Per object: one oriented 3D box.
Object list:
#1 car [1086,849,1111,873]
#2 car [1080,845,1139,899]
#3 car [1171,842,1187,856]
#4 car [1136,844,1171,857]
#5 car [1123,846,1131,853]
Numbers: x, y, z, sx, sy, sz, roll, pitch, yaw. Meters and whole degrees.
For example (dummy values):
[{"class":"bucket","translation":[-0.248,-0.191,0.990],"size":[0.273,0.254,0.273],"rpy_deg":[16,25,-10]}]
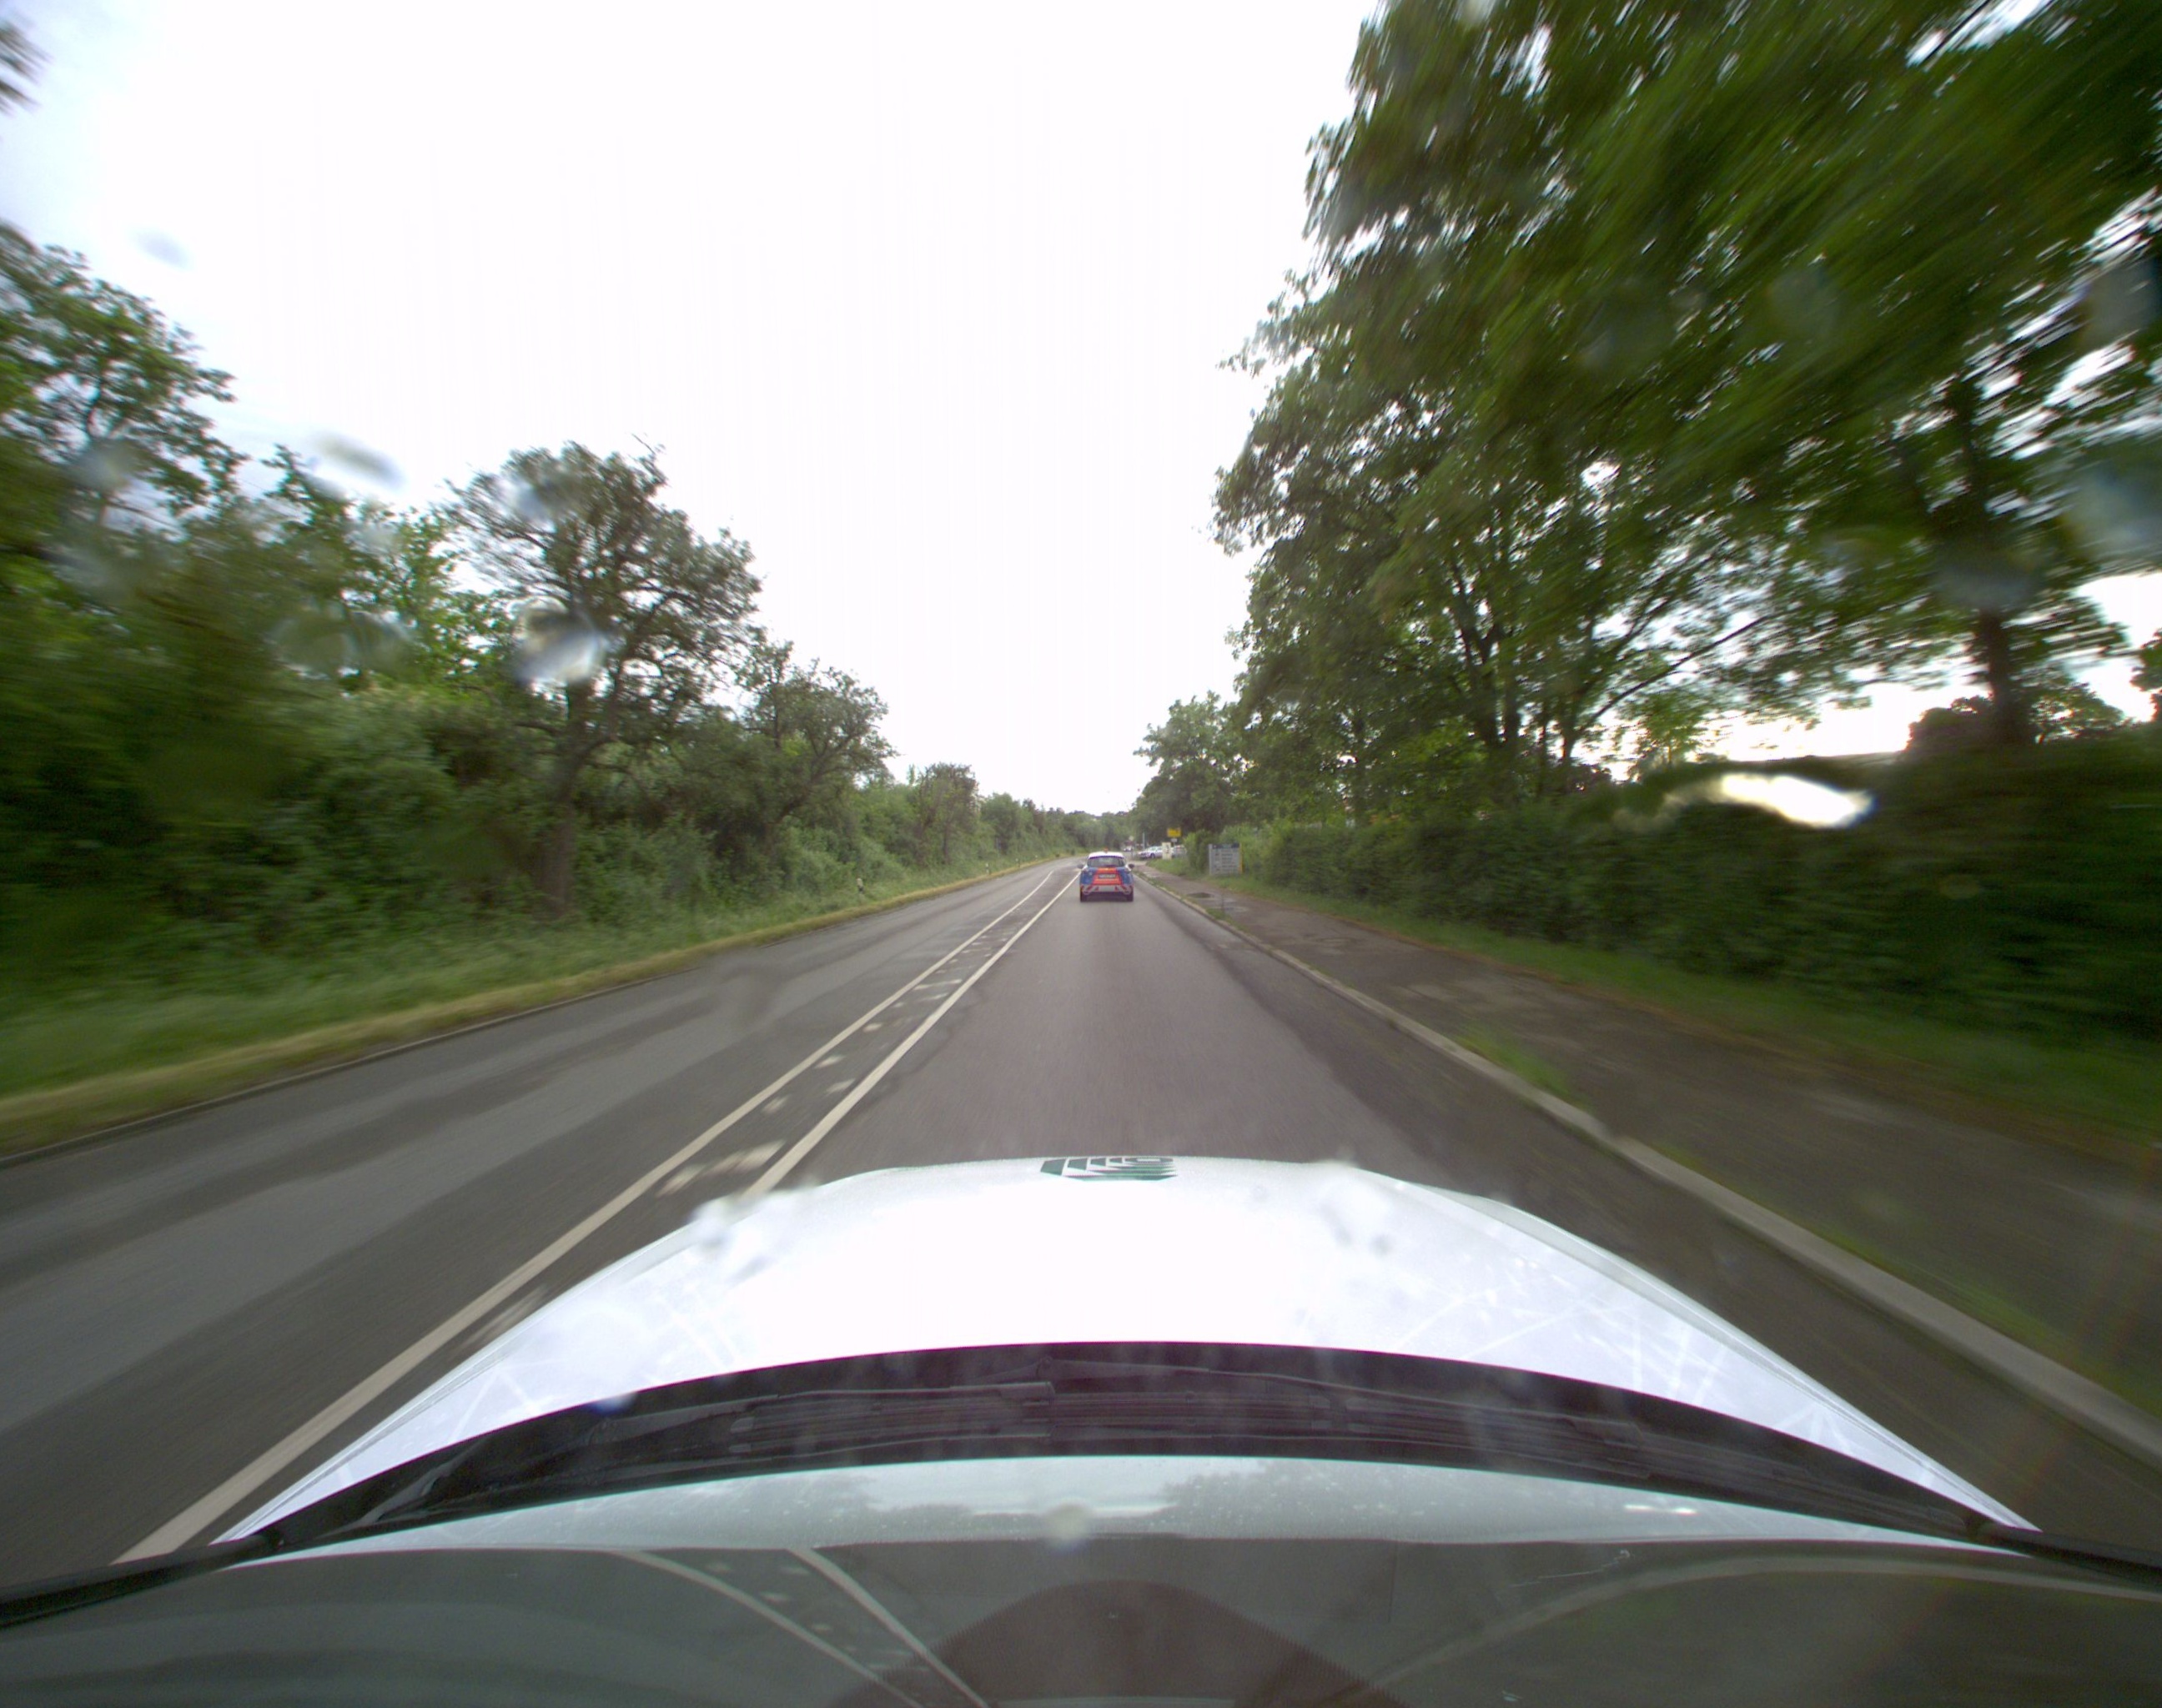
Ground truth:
[{"class":"car","translation":[1.216,0.463,55.389],"size":[1.687,1.595,3.857],"rpy_deg":[0,0,2]},{"class":"car","translation":[0.918,0.560,27.058],"size":[1.799,1.668,3.856],"rpy_deg":[0,0,1]},{"class":"car","translation":[12.862,-0.623,106.727],"size":[1.818,1.829,4.268],"rpy_deg":[0,0,4]},{"class":"car","translation":[9.764,-0.490,109.512],"size":[4.644,1.751,2.010],"rpy_deg":[1,-1,-44]},{"class":"car","translation":[12.686,-1.189,223.636],"size":[1.682,1.790,3.870],"rpy_deg":[0,0,14]}]
